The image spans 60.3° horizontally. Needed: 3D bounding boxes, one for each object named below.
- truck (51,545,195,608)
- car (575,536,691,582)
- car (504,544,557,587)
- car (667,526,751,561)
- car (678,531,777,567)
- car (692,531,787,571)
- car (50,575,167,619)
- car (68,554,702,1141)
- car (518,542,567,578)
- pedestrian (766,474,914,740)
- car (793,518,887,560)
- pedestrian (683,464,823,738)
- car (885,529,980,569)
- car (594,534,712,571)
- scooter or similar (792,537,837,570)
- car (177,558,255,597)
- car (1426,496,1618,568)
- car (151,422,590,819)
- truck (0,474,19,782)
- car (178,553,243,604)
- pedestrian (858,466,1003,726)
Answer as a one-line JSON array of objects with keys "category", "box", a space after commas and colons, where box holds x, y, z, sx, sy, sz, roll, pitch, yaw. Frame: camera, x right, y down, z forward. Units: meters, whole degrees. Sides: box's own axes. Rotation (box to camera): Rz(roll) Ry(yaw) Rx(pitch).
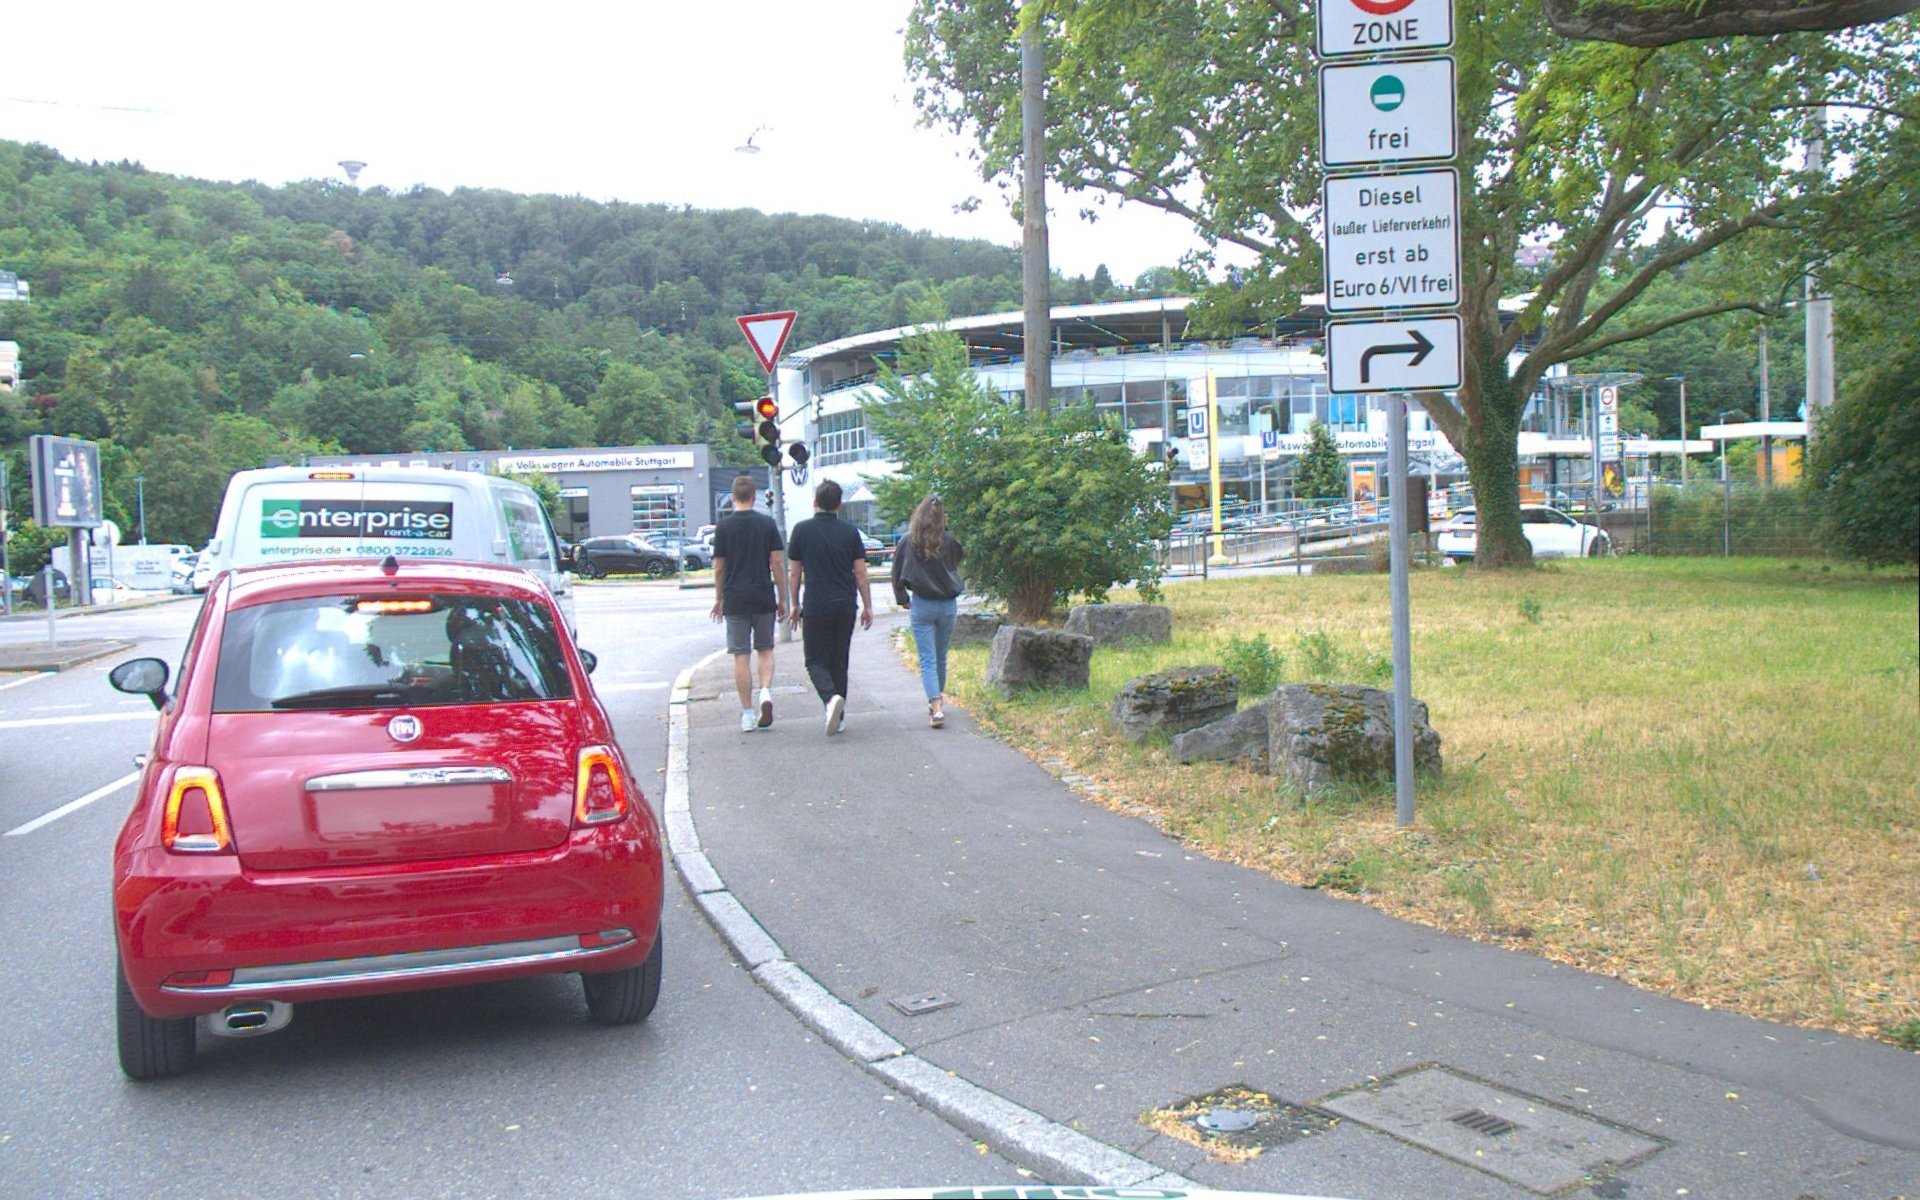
[{"category": "truck", "box": [-36.010, -1.028, 71.248, 5.151, 2.434, 1.972, -4, 3, -39]}, {"category": "car", "box": [-12.045, -1.517, 61.001, 3.787, 1.526, 1.777, -2, 2, 6]}, {"category": "car", "box": [-20.027, -1.623, 77.227, 1.957, 1.847, 3.992, -3, 2, -9]}, {"category": "car", "box": [-14.558, -3.290, 95.985, 4.707, 1.834, 1.773, -3, 2, -9]}, {"category": "car", "box": [-11.383, -2.512, 81.213, 4.707, 1.559, 1.773, -3, 2, -9]}, {"category": "car", "box": [-11.301, -2.527, 84.863, 4.707, 1.834, 1.773, -3, 2, -9]}, {"category": "car", "box": [-35.054, -0.152, 68.187, 4.153, 1.559, 1.761, -3, 3, -26]}, {"category": "car", "box": [-2.153, 0.599, 6.177, 1.616, 1.482, 3.409, -2, 2, -22]}, {"category": "car", "box": [-19.485, -1.910, 77.327, 1.737, 1.559, 4.084, -3, 2, -8]}, {"category": "pedestrian", "box": [-0.837, 0.032, 11.436, 0.686, 1.744, 0.781, -4, 2, -29]}, {"category": "car", "box": [-4.842, -2.438, 66.454, 1.762, 1.526, 3.820, -4, 3, -43]}, {"category": "pedestrian", "box": [-1.504, -0.010, 12.000, 0.686, 1.889, 0.781, -4, 2, -29]}, {"category": "car", "box": [-1.170, -2.093, 68.784, 1.761, 1.526, 3.961, -4, 3, -41]}, {"category": "car", "box": [-12.994, -2.012, 70.111, 4.574, 1.350, 1.777, -2, 2, 3]}, {"category": "scooter or similar", "box": [-5.573, -1.788, 63.391, 1.635, 1.198, 0.467, -2, 2, -4]}, {"category": "car", "box": [-31.850, -0.967, 70.735, 1.762, 1.559, 4.025, -4, 3, -43]}, {"category": "car", "box": [13.706, -1.684, 40.253, 4.834, 1.533, 1.785, -4, 4, -32]}, {"category": "car", "box": [-3.841, 0.022, 11.727, 1.953, 2.143, 4.752, -3, 2, -9]}, {"category": "truck", "box": [-6.502, 0.064, 8.240, 2.390, 2.439, 5.984, -4, 2, -24]}, {"category": "car", "box": [-29.283, -0.885, 64.727, 1.832, 1.849, 4.378, -3, 2, -19]}, {"category": "pedestrian", "box": [-0.218, -0.043, 11.826, 0.686, 1.769, 0.781, -4, 2, -29]}]
